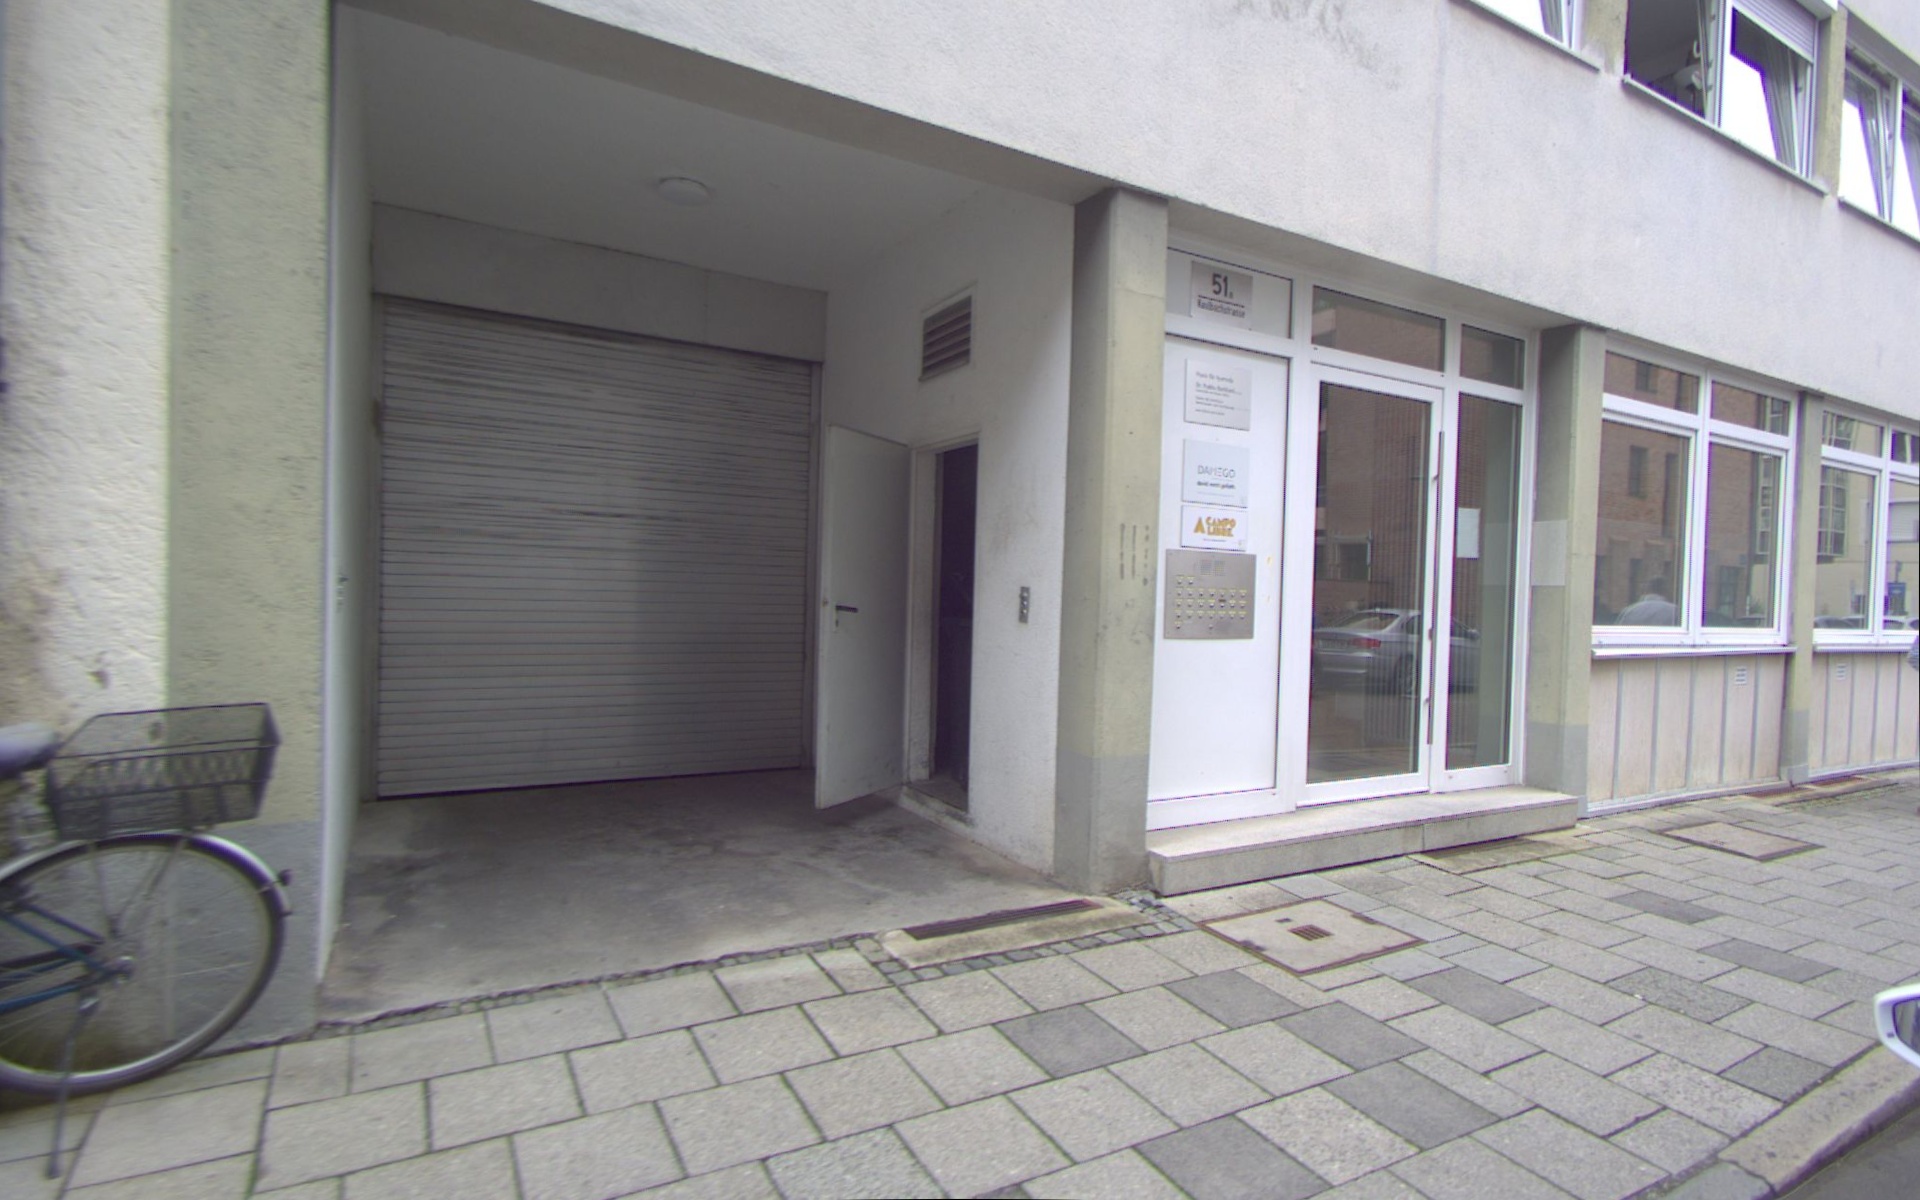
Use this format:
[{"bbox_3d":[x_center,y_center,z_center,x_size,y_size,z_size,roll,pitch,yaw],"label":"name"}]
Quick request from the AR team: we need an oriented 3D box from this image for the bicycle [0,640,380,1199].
[{"bbox_3d":[-2.258,0.687,2.135,1.704,1.175,0.558,2,1,-37],"label":"bicycle"}]

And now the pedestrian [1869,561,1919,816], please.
[{"bbox_3d":[7.313,0.652,7.300,0.906,1.821,0.715,2,2,-30],"label":"pedestrian"}]
